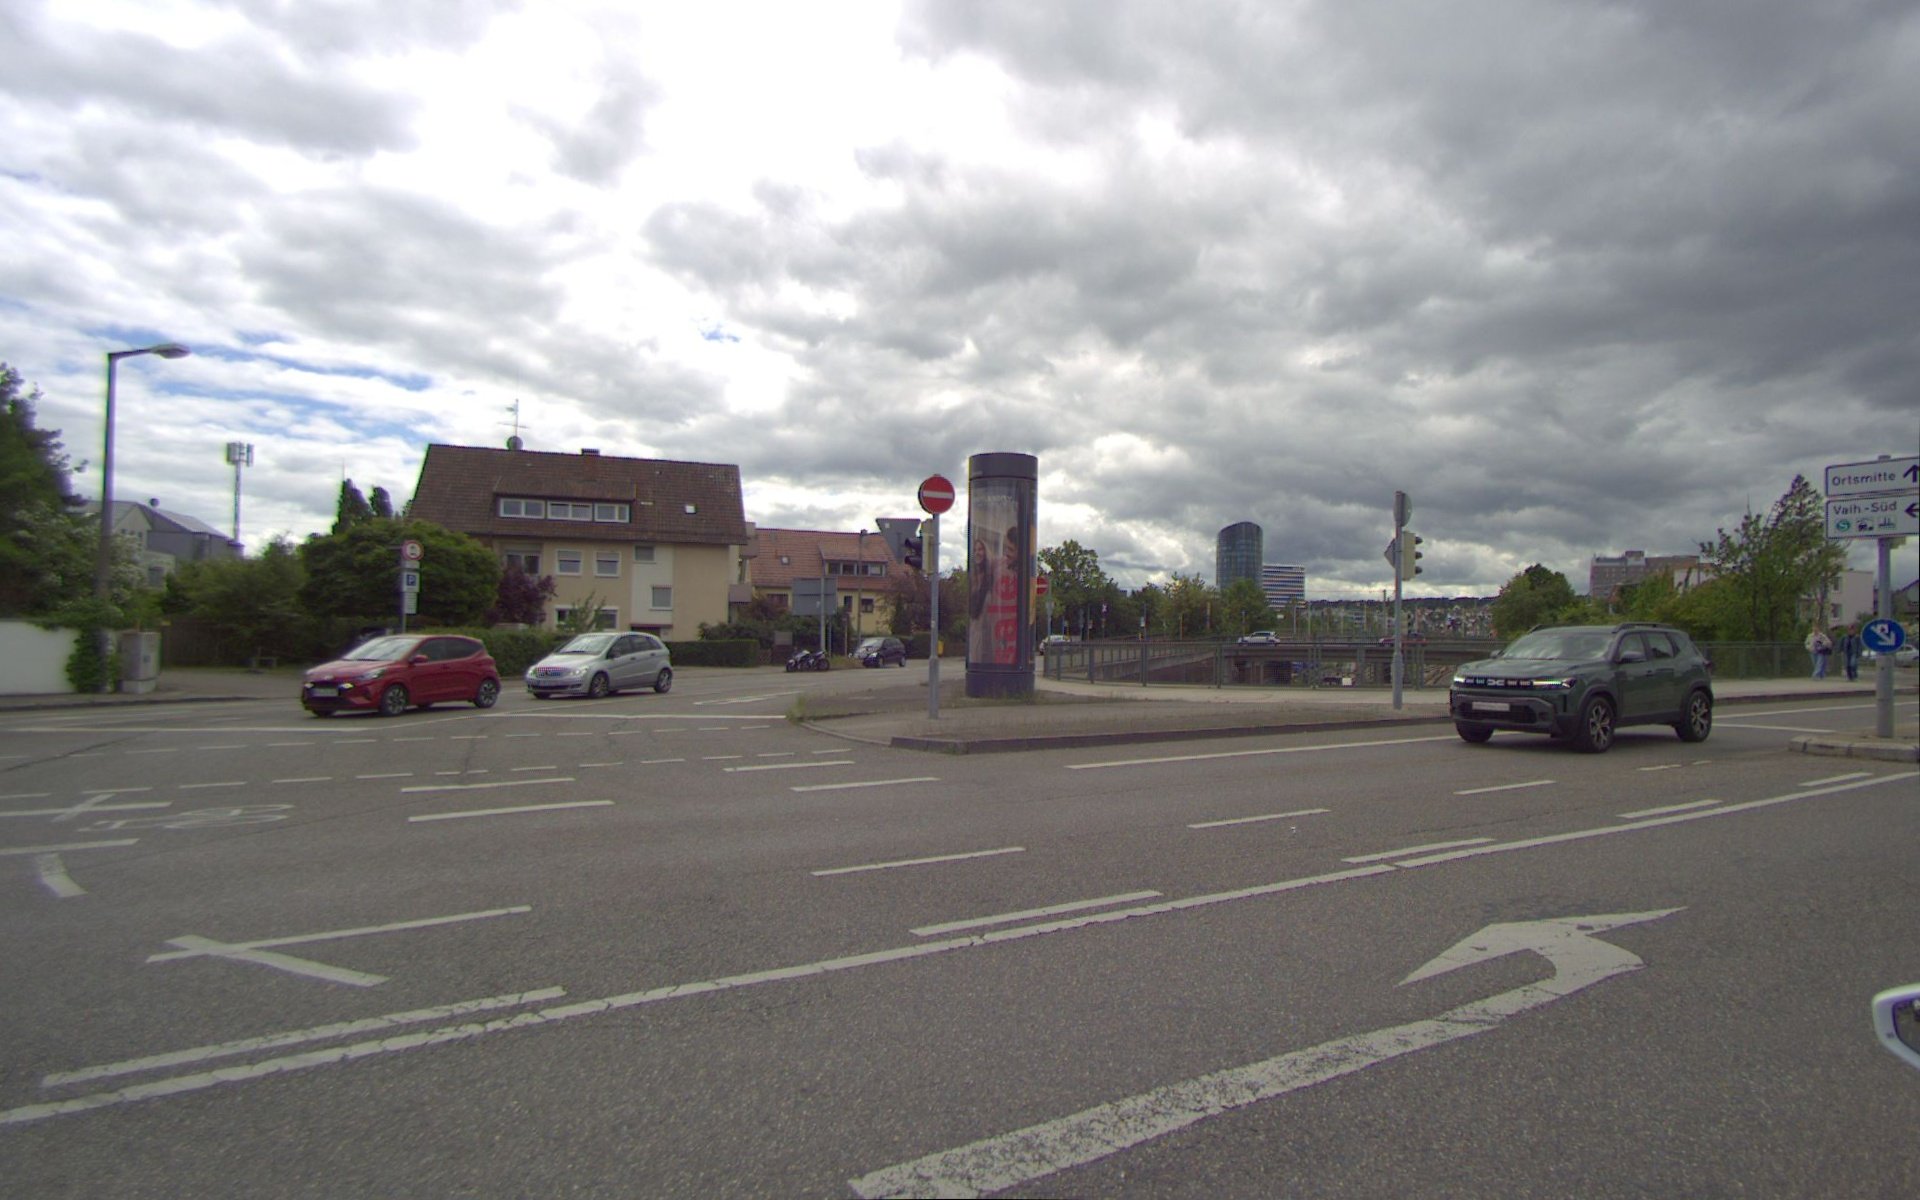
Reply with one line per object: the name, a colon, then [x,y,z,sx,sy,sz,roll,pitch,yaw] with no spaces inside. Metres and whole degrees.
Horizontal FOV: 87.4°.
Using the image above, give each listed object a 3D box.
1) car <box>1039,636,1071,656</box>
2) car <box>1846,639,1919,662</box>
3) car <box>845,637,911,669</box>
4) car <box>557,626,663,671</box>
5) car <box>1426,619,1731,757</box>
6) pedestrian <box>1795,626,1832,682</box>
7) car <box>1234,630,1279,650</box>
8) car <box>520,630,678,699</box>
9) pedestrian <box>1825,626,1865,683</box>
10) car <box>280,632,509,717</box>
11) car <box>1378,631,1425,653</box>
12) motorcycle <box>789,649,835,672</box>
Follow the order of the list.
car: [8.100,3.857,85.176,1.862,1.628,4.378,0,-2,17]
car: [65.388,3.587,71.126,3.924,1.574,1.801,1,-2,-5]
car: [-4.280,2.770,53.255,1.960,1.628,4.378,0,-2,17]
car: [-14.754,2.021,42.370,3.921,1.602,1.787,2,1,19]
car: [8.625,1.139,13.952,4.228,1.648,1.815,1,-3,-30]
pedestrian: [25.764,1.617,30.322,0.825,1.655,0.651,1,0,-36]
car: [28.859,3.899,97.732,3.924,1.685,1.734,3,2,24]
car: [-8.848,1.603,25.019,1.614,1.555,4.133,-1,-4,15]
pedestrian: [26.157,1.600,29.695,1.060,1.655,0.651,1,0,-36]
car: [-10.618,1.394,19.203,1.739,1.465,3.706,-1,-3,13]
car: [40.888,3.874,93.085,3.924,1.684,1.797,2,1,25]
motorcycle: [-6.844,2.805,46.467,2.084,1.012,0.702,1,-6,-11]
